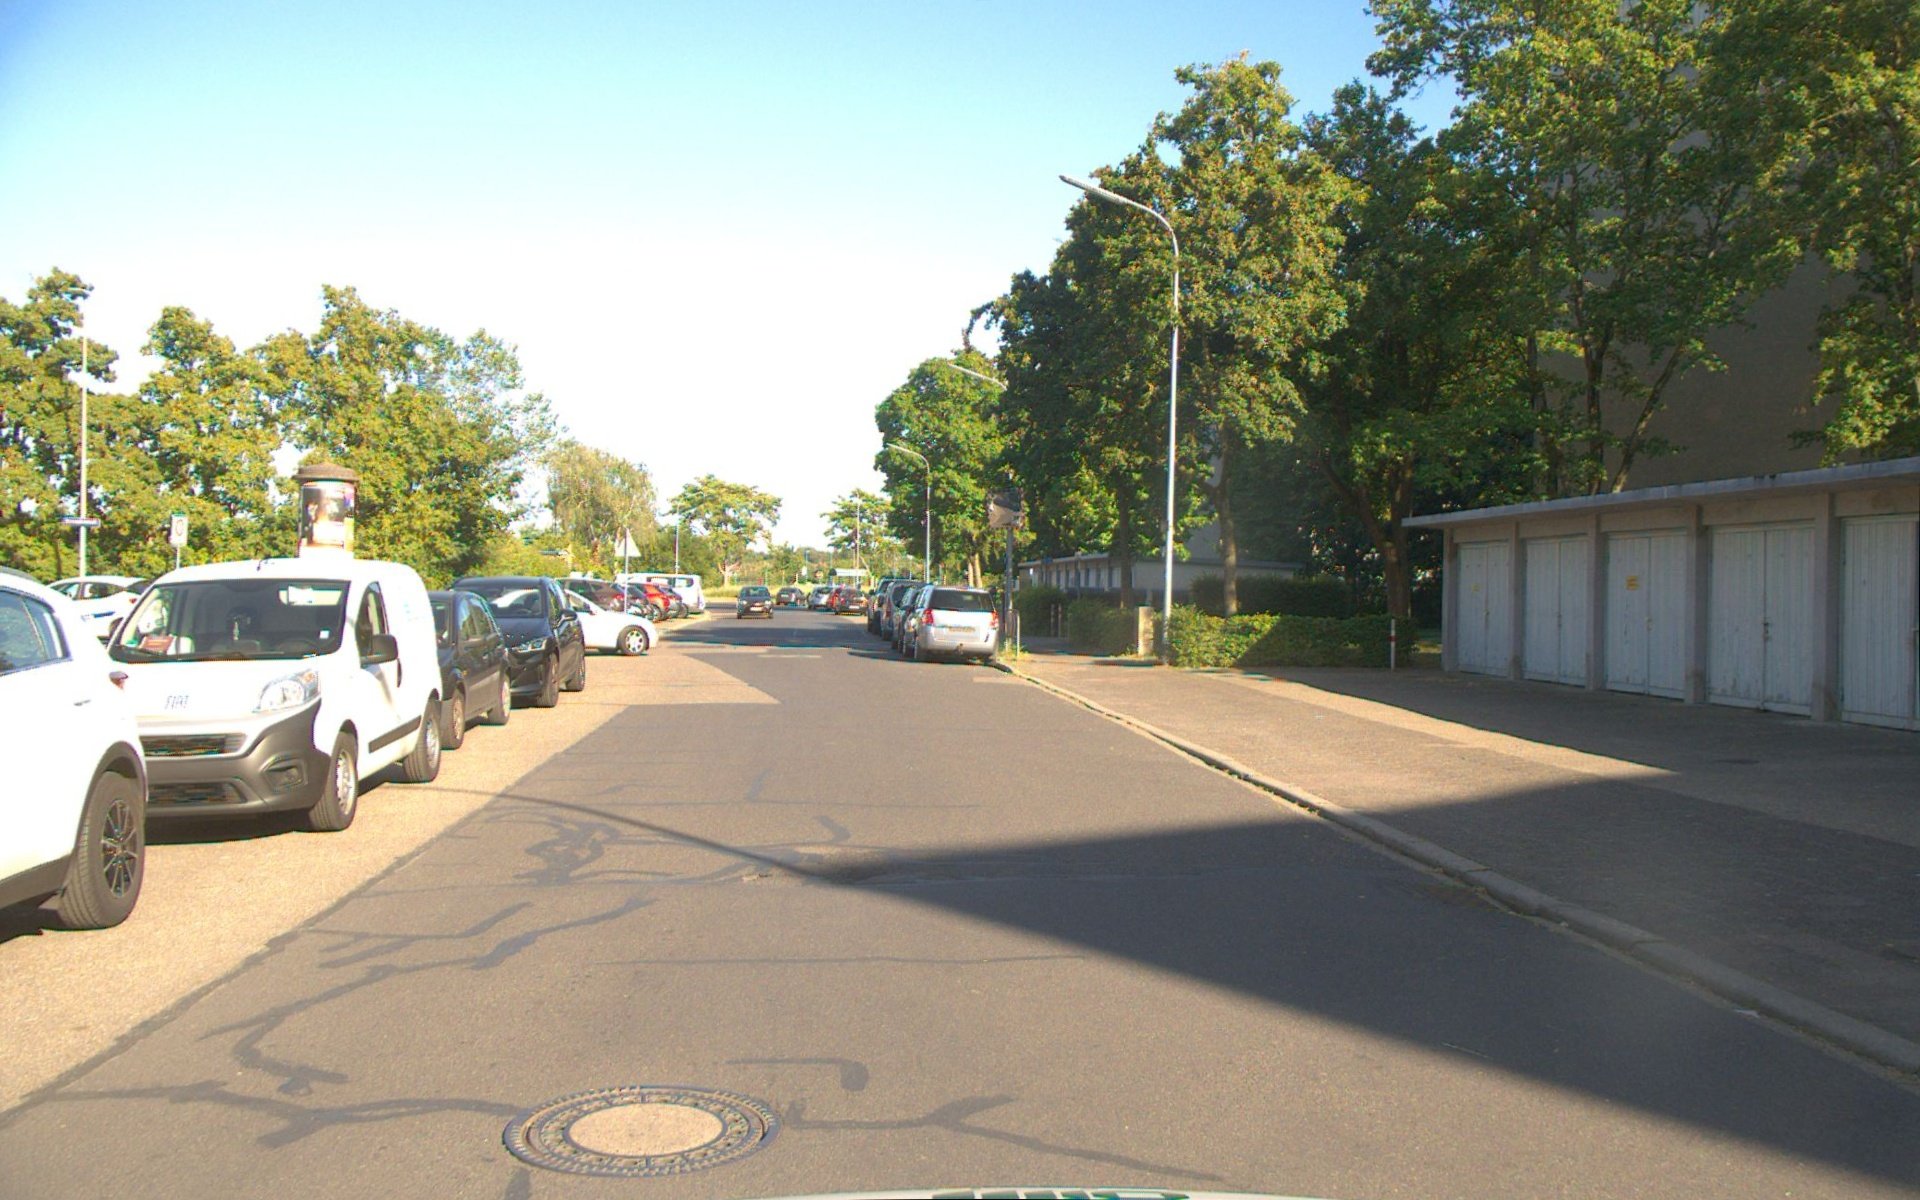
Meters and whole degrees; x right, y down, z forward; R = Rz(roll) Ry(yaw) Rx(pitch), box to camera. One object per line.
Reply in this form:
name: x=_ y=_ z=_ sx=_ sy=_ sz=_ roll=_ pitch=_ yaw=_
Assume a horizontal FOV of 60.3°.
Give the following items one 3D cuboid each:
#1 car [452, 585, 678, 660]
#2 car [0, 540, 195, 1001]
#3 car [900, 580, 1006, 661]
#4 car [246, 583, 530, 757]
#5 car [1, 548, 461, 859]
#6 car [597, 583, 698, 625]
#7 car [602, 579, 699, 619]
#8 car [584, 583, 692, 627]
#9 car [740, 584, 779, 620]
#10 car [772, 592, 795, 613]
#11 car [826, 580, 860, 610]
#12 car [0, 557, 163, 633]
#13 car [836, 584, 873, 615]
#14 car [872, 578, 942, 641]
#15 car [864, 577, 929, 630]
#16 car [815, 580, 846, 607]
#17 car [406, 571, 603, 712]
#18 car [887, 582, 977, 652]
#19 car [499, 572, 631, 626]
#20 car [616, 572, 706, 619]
car: x=-8.279 y=0.432 z=34.698 sx=4.335 sy=1.461 sz=1.827 roll=-1 pitch=1 yaw=-28
car: x=-4.394 y=0.636 z=5.997 sx=1.713 sy=1.699 sz=4.370 roll=0 pitch=1 yaw=-8
car: x=-0.211 y=0.404 z=35.345 sx=1.762 sy=1.589 sz=3.945 roll=2 pitch=0 yaw=-7
car: x=-5.533 y=0.587 z=16.522 sx=1.712 sy=1.504 sz=4.148 roll=0 pitch=1 yaw=-5
car: x=-4.775 y=0.568 z=11.488 sx=1.712 sy=1.762 sz=4.001 roll=0 pitch=1 yaw=-5
car: x=-12.776 y=0.165 z=67.865 sx=3.980 sy=1.589 sz=1.797 roll=2 pitch=0 yaw=-10
car: x=-13.256 y=-0.055 z=71.025 sx=3.980 sy=1.589 sz=1.797 roll=2 pitch=0 yaw=-10
car: x=-12.400 y=0.182 z=63.808 sx=3.980 sy=1.589 sz=1.797 roll=2 pitch=0 yaw=-10
car: x=-9.430 y=0.092 z=77.697 sx=1.762 sy=1.589 sz=3.945 roll=2 pitch=0 yaw=-7
car: x=-13.893 y=0.175 z=130.298 sx=1.648 sy=1.540 sz=4.097 roll=3 pitch=0 yaw=-8
car: x=-6.930 y=-0.294 z=97.548 sx=1.762 sy=1.672 sz=3.945 roll=2 pitch=0 yaw=-7
car: x=-20.017 y=-0.129 z=37.154 sx=3.434 sy=1.589 sz=1.604 roll=2 pitch=0 yaw=-10
car: x=-5.776 y=-0.040 z=90.195 sx=1.762 sy=1.575 sz=3.945 roll=2 pitch=0 yaw=-7
car: x=-1.676 y=0.271 z=51.203 sx=1.762 sy=1.817 sz=3.945 roll=2 pitch=0 yaw=-7
car: x=-2.158 y=0.103 z=55.379 sx=1.762 sy=1.672 sz=3.945 roll=2 pitch=0 yaw=-7
car: x=-8.448 y=-0.432 z=107.555 sx=1.762 sy=1.672 sz=3.945 roll=2 pitch=0 yaw=-7
car: x=-5.795 y=0.461 z=21.508 sx=1.712 sy=1.641 sz=4.303 roll=0 pitch=1 yaw=-5
car: x=-0.744 y=0.391 z=40.673 sx=1.762 sy=1.589 sz=3.945 roll=2 pitch=0 yaw=-7
car: x=-12.636 y=-0.027 z=53.140 sx=3.980 sy=1.589 sz=1.797 roll=2 pitch=0 yaw=-10
car: x=-13.790 y=-0.224 z=76.313 sx=3.980 sy=2.027 sz=1.797 roll=2 pitch=0 yaw=-10
